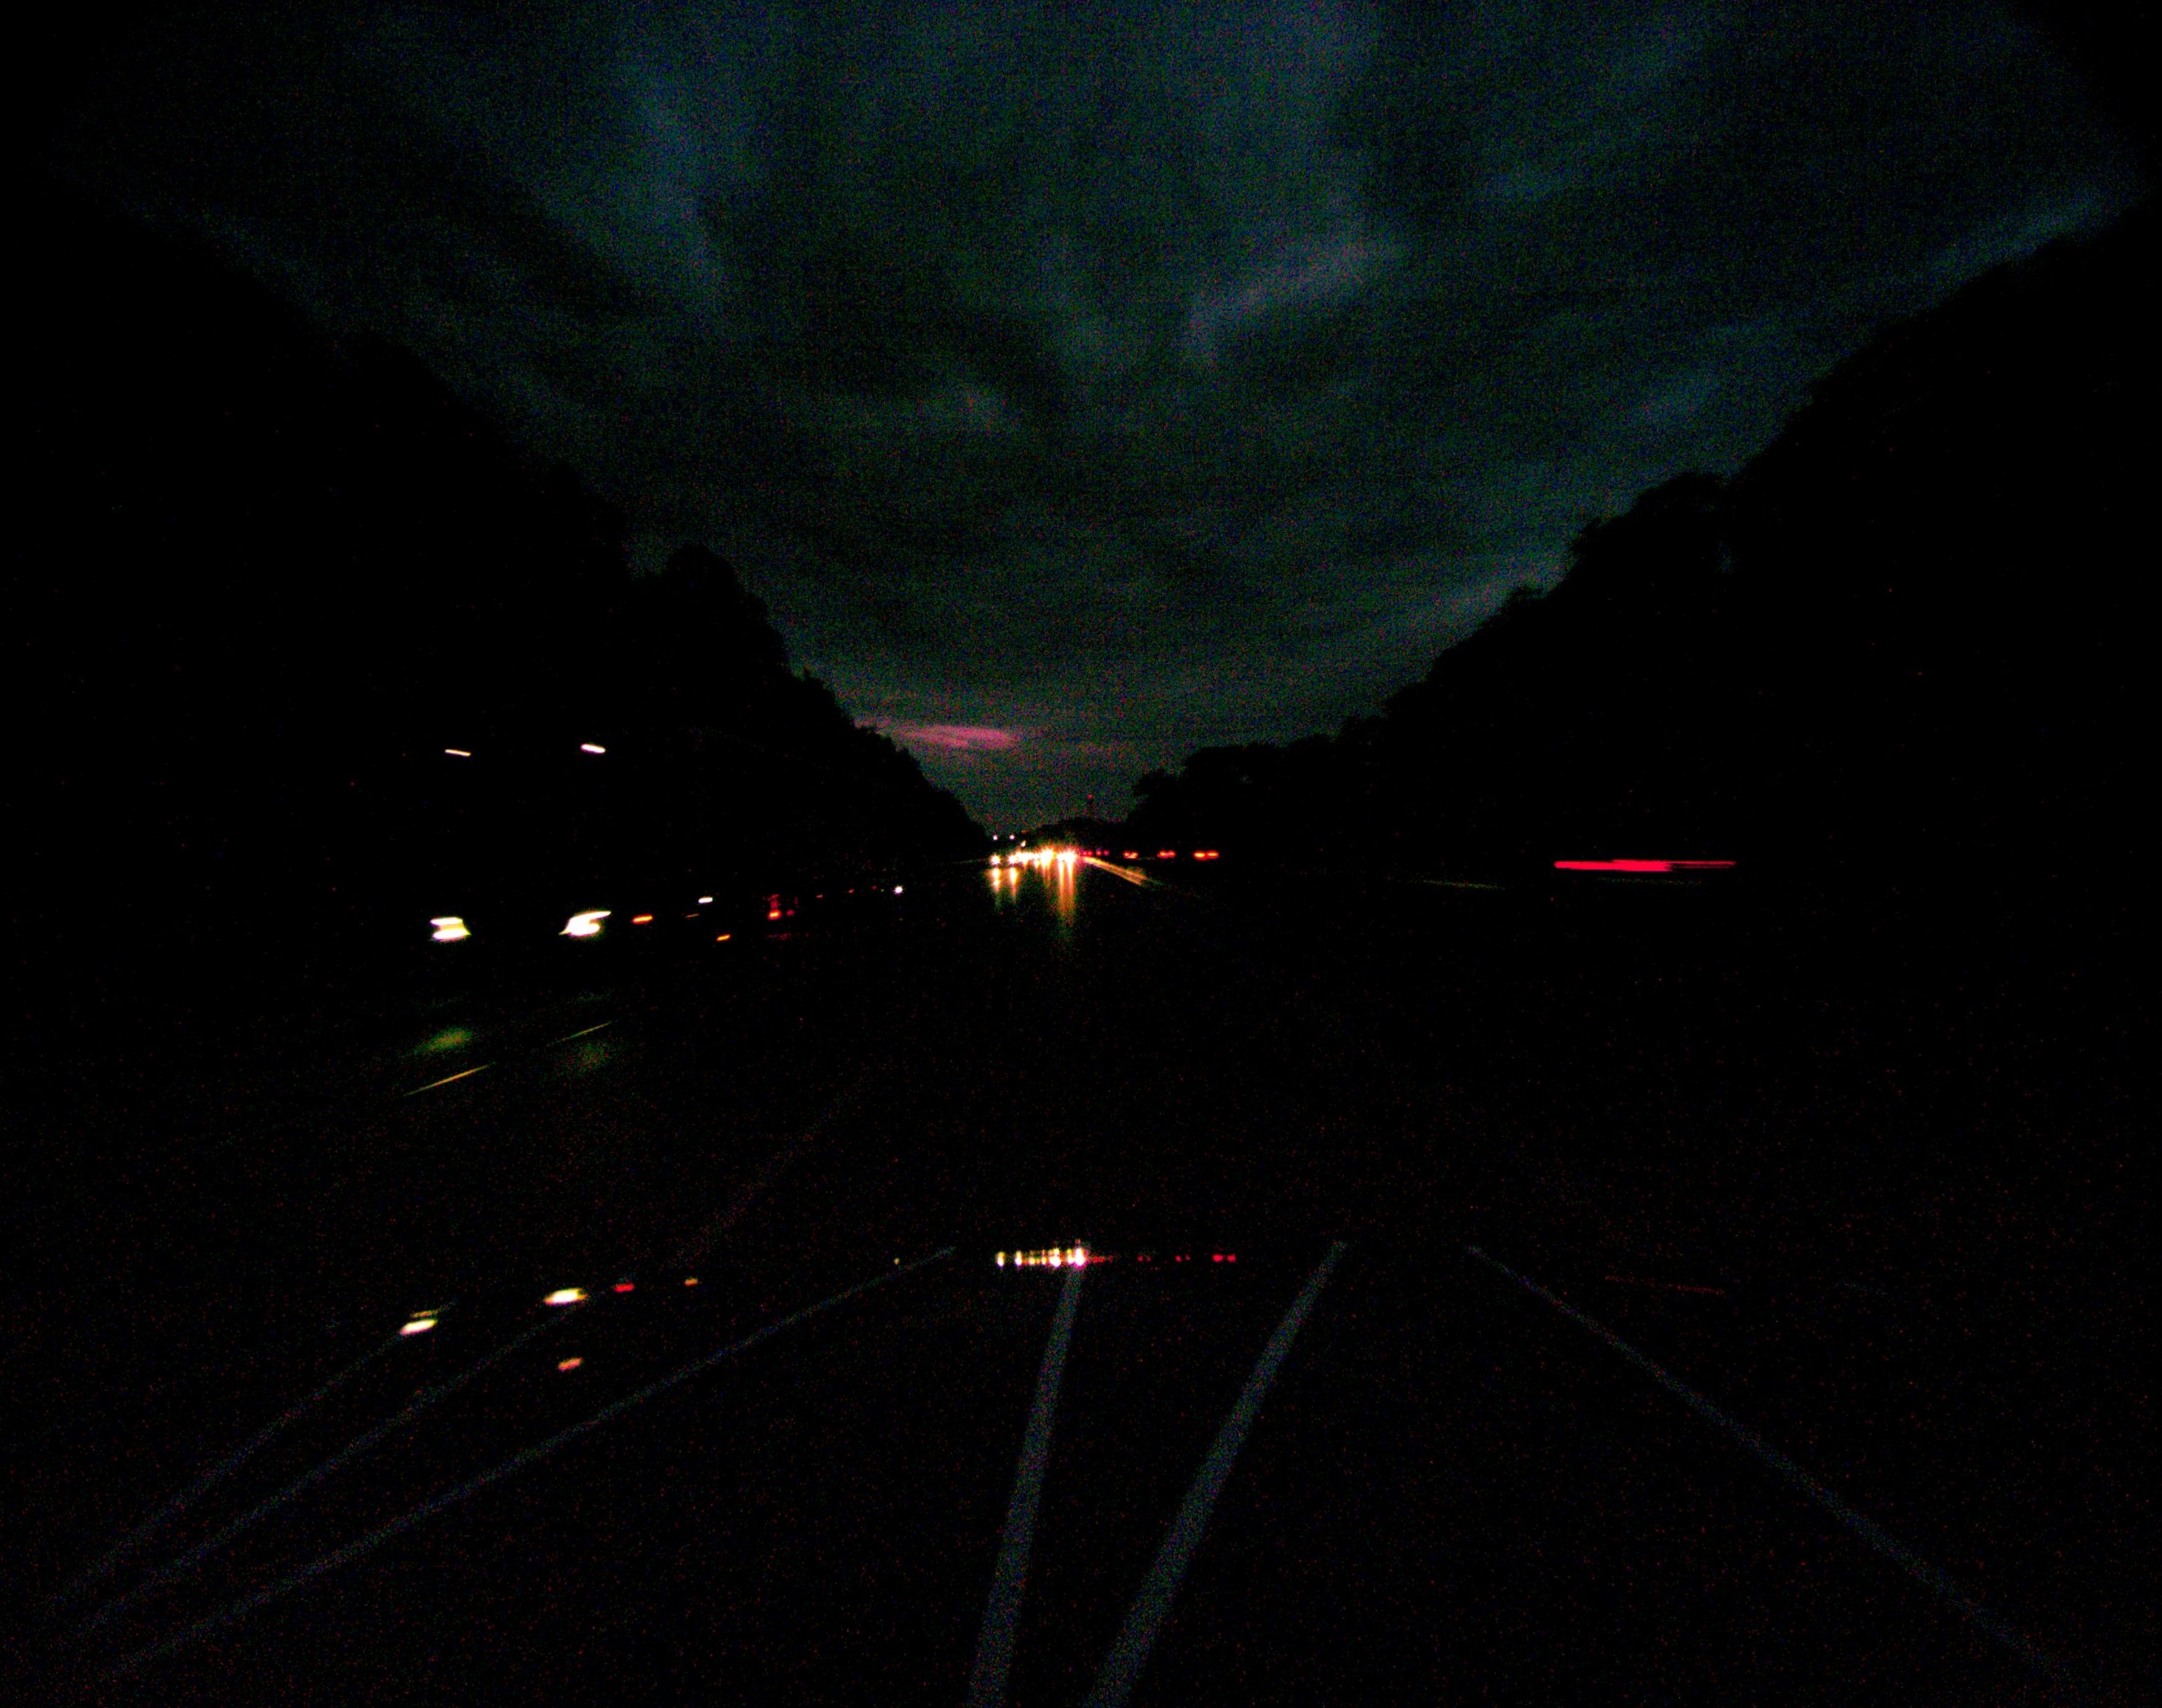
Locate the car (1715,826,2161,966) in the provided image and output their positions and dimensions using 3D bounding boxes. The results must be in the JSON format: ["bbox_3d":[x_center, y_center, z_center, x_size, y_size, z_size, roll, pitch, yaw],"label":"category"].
[{"bbox_3d":[11.214,0.452,10.370,1.601,1.480,4.231,-2,0,1],"label":"car"}]

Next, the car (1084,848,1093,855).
[{"bbox_3d":[1.829,-0.563,191.607,1.999,1.598,4.659,-2,0,-4],"label":"car"}]

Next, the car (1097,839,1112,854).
[{"bbox_3d":[6.530,-1.906,209.876,3.144,3.945,8.600,-2,0,-5],"label":"car"}]

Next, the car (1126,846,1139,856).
[{"bbox_3d":[8.740,-0.460,128.666,1.824,1.548,4.335,-1,0,-1],"label":"car"}]

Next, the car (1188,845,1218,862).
[{"bbox_3d":[12.785,-0.070,79.775,1.924,1.706,5.284,-2,0,-3],"label":"car"}]

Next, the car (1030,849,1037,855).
[{"bbox_3d":[-15.606,-0.665,248.121,1.998,1.641,4.000,-2,0,0],"label":"car"}]

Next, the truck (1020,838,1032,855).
[{"bbox_3d":[-12.877,-1.756,179.414,2.539,3.967,9.792,-2,0,-4],"label":"truck"}]

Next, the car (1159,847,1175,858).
[{"bbox_3d":[12.908,-0.264,114.338,1.891,1.551,5.095,-2,0,0],"label":"car"}]

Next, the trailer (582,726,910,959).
[{"bbox_3d":[-7.450,-0.238,20.230,2.489,4.049,13.504,-2,0,1],"label":"trailer"}]

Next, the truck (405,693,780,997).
[{"bbox_3d":[-7.551,-0.126,12.823,2.498,3.945,5.590,-2,1,1],"label":"truck"}]

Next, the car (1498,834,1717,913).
[{"bbox_3d":[11.369,0.378,16.862,1.824,1.470,4.371,-2,0,1],"label":"car"}]

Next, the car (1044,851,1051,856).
[{"bbox_3d":[-9.400,-0.190,215.308,1.696,1.481,4.949,0,0,0],"label":"car"}]

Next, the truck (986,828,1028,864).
[{"bbox_3d":[-8.721,-0.933,91.241,3.340,3.945,13.537,-2,0,1],"label":"truck"}]

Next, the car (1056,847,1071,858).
[{"bbox_3d":[-2.696,-0.230,118.229,1.869,1.700,4.586,-2,-1,5],"label":"car"}]

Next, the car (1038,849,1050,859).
[{"bbox_3d":[-6.999,-0.009,142.720,1.923,1.706,4.943,-2,0,0],"label":"car"}]
